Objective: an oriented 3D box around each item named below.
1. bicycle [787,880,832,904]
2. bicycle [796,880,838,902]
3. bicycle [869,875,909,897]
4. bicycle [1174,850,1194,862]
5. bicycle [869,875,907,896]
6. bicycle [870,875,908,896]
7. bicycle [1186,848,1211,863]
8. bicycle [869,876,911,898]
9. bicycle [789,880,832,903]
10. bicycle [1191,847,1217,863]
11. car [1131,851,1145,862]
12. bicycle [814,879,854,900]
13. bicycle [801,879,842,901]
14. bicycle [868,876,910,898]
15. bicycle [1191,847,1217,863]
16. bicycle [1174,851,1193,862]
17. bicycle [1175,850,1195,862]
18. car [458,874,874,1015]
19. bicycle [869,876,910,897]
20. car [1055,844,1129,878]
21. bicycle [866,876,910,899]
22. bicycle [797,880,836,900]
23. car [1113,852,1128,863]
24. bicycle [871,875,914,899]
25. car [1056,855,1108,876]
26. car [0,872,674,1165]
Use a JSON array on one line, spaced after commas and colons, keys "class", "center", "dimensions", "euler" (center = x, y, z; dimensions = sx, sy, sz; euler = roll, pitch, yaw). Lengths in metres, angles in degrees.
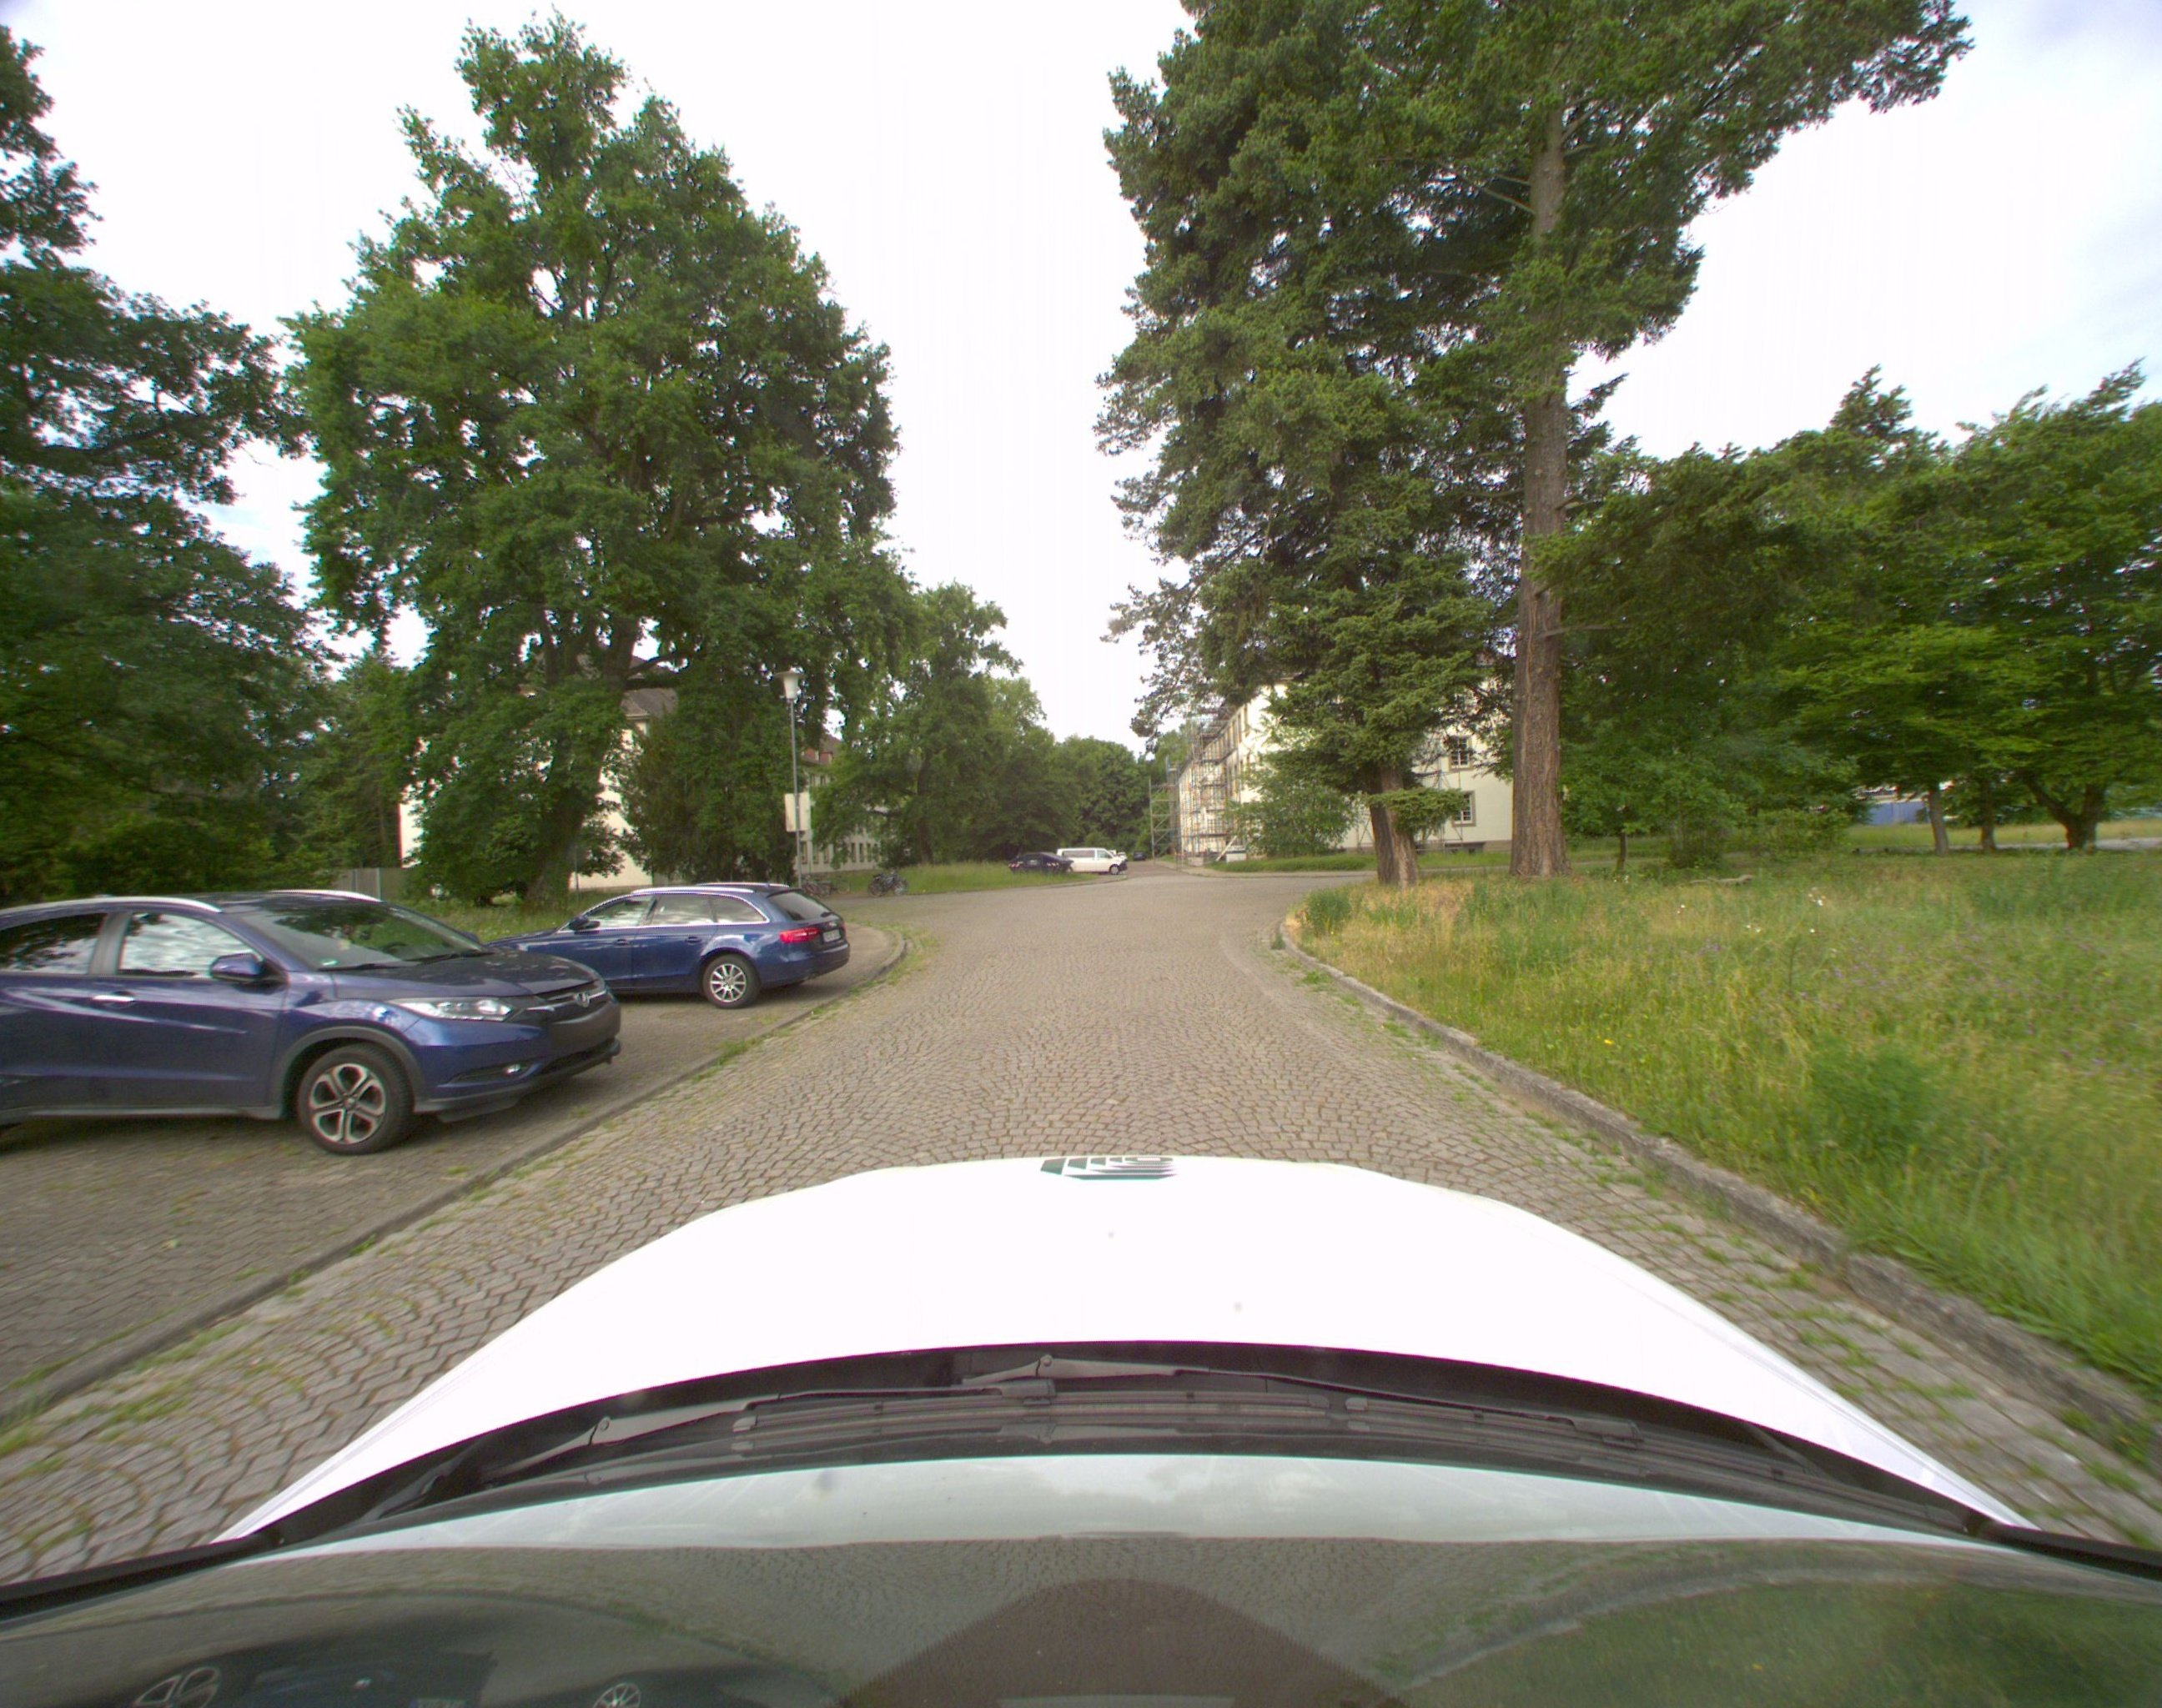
[{"class": "bicycle", "center": [-13.162, 1.837, 39.492], "dimensions": [1.967, 0.989, 0.622], "euler": [-3, 0, -25]}, {"class": "bicycle", "center": [-13.525, 1.881, 41.704], "dimensions": [1.967, 0.989, 0.622], "euler": [-3, 0, -25]}, {"class": "bicycle", "center": [-10.253, 1.704, 43.541], "dimensions": [1.965, 0.989, 0.622], "euler": [-3, 0, -21]}, {"class": "bicycle", "center": [12.255, 0.262, 96.758], "dimensions": [2.230, 1.254, 0.699], "euler": [-3, 0, 4]}, {"class": "bicycle", "center": [-10.713, 1.749, 45.253], "dimensions": [1.965, 0.989, 0.622], "euler": [-3, 0, -21]}, {"class": "bicycle", "center": [-10.541, 1.733, 44.678], "dimensions": [1.965, 0.989, 0.622], "euler": [-3, 0, -21]}, {"class": "bicycle", "center": [10.976, 0.130, 76.068], "dimensions": [2.230, 1.254, 0.778], "euler": [-3, 0, 4]}, {"class": "bicycle", "center": [-9.674, 1.648, 41.335], "dimensions": [1.965, 0.989, 0.622], "euler": [-3, 0, -21]}, {"class": "bicycle", "center": [-13.269, 1.849, 39.986], "dimensions": [1.964, 0.989, 0.622], "euler": [-3, 0, -21]}, {"class": "bicycle", "center": [10.839, 0.095, 71.811], "dimensions": [2.230, 1.254, 0.778], "euler": [-3, 0, 4]}, {"class": "car", "center": [8.748, 0.355, 125.270], "dimensions": [1.944, 1.521, 4.001], "euler": [-3, 0, 1]}, {"class": "bicycle", "center": [-13.369, 1.895, 44.058], "dimensions": [1.957, 0.989, 0.625], "euler": [-3, 0, -8]}, {"class": "bicycle", "center": [-13.696, 1.905, 43.059], "dimensions": [1.957, 0.989, 0.625], "euler": [-3, 0, -8]}, {"class": "bicycle", "center": [-9.603, 1.638, 40.707], "dimensions": [1.965, 0.989, 0.622], "euler": [-3, 0, -21]}, {"class": "bicycle", "center": [11.135, 0.097, 73.716], "dimensions": [2.230, 1.254, 0.778], "euler": [-3, 0, 4]}, {"class": "bicycle", "center": [12.299, 0.268, 97.603], "dimensions": [2.230, 1.254, 0.635], "euler": [-3, 0, 4]}, {"class": "bicycle", "center": [12.181, 0.254, 95.481], "dimensions": [2.230, 1.254, 0.628], "euler": [-3, 0, 4]}, {"class": "car", "center": [-5.121, 1.088, 10.475], "dimensions": [4.284, 1.461, 1.977], "euler": [-2, 0, 3]}, {"class": "bicycle", "center": [-10.101, 1.690, 42.953], "dimensions": [1.965, 0.989, 0.622], "euler": [-3, 0, -21]}, {"class": "car", "center": [0.802, 0.525, 59.161], "dimensions": [5.218, 2.168, 2.000], "euler": [-3, 0, 0]}, {"class": "bicycle", "center": [-9.246, 1.601, 39.097], "dimensions": [1.963, 0.989, 0.623], "euler": [-3, 0, -18]}, {"class": "bicycle", "center": [-14.764, 1.992, 45.531], "dimensions": [1.961, 0.989, 0.624], "euler": [-3, 0, -15]}, {"class": "car", "center": [6.073, 0.512, 125.059], "dimensions": [2.111, 1.521, 4.001], "euler": [-3, 0, 1]}, {"class": "bicycle", "center": [-9.193, 1.604, 39.721], "dimensions": [1.965, 0.989, 0.622], "euler": [-3, 0, -21]}, {"class": "car", "center": [0.076, 0.880, 61.779], "dimensions": [3.777, 1.395, 1.999], "euler": [-3, 0, -1]}, {"class": "car", "center": [-5.496, 1.014, 5.758], "dimensions": [4.213, 1.577, 1.887], "euler": [-2, 0, 1]}]
